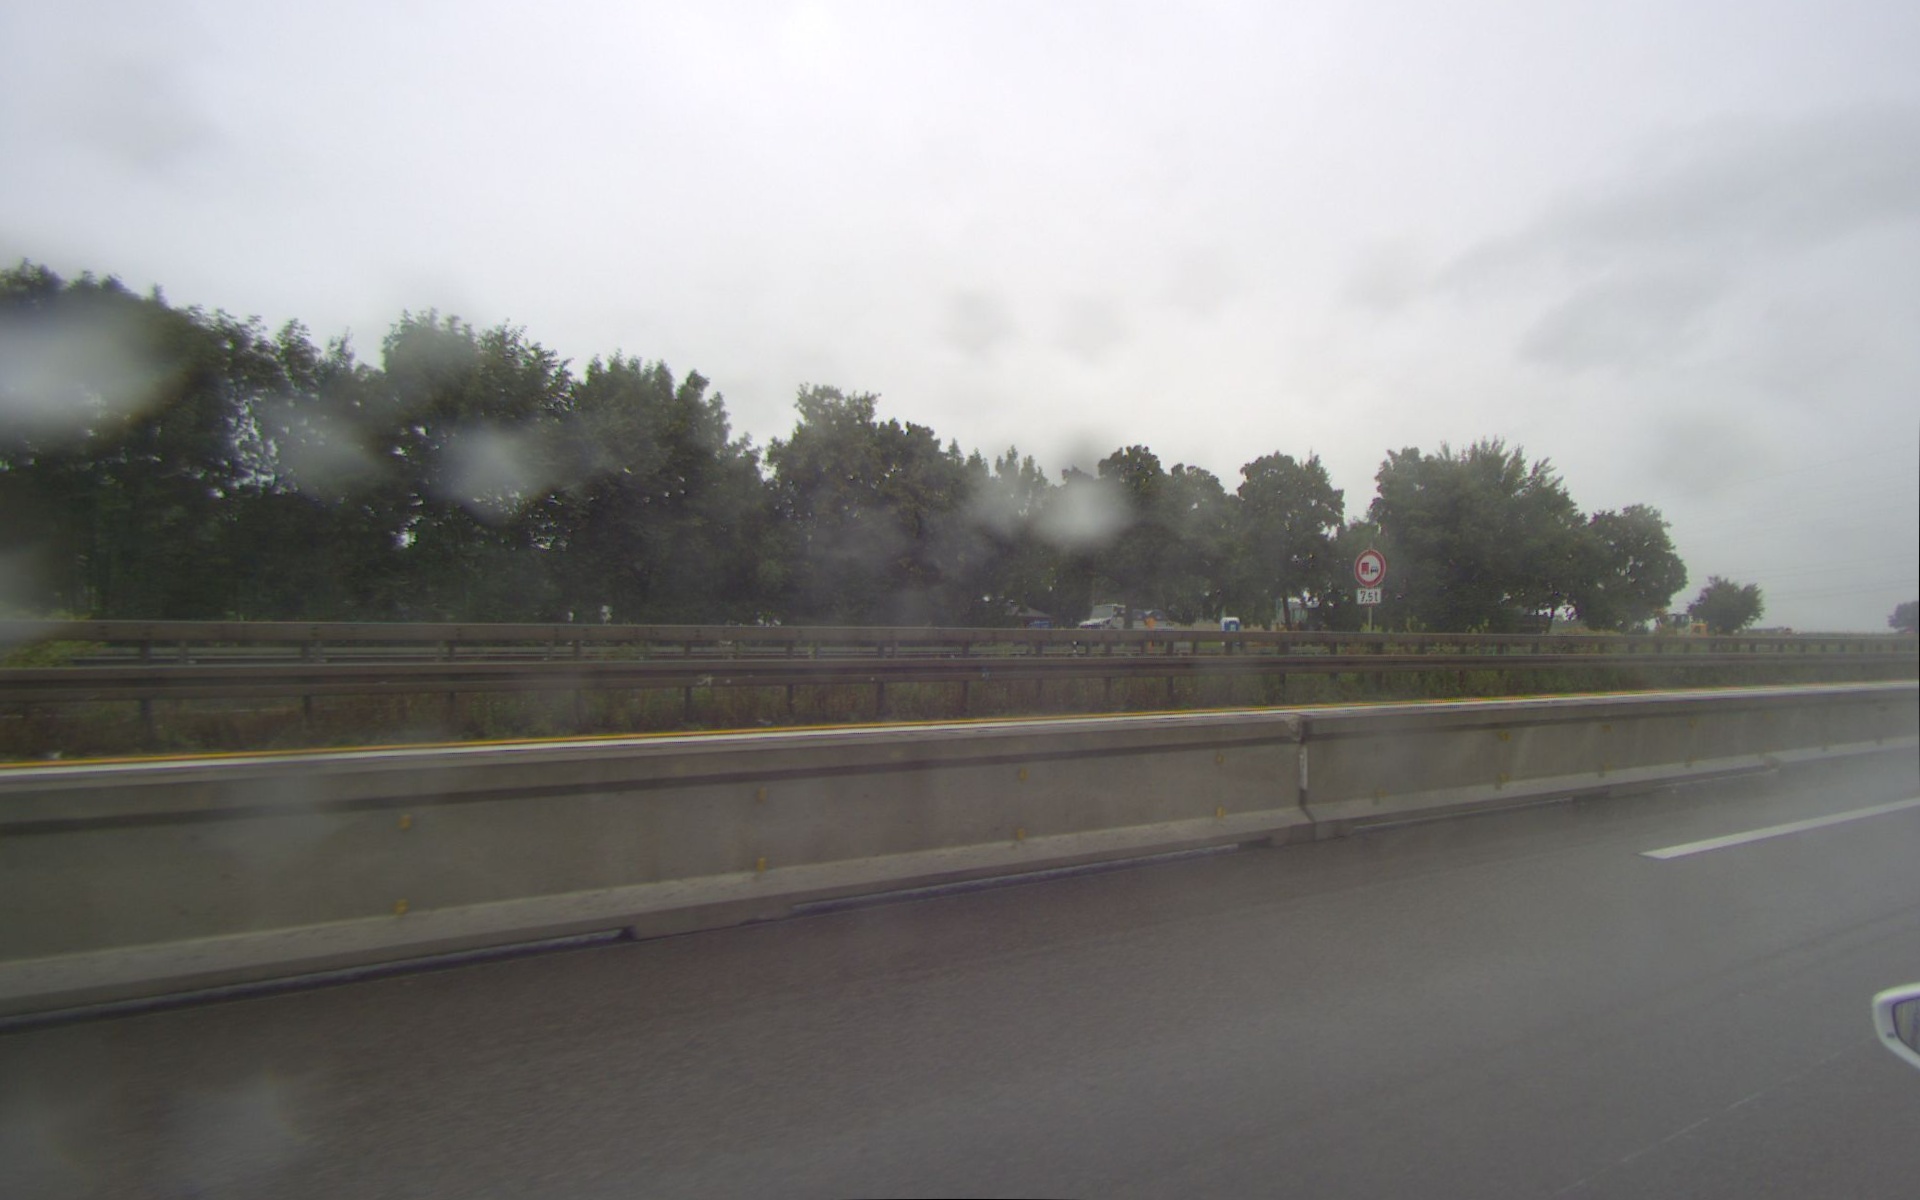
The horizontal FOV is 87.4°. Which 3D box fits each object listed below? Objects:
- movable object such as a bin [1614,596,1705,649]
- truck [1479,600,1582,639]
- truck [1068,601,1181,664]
[{"bbox_3d":[56.582,1.843,81.184,8.365,3.971,2.716,3,-1,-30],"label":"movable object such as a bin"},{"bbox_3d":[42.761,1.484,75.197,8.792,2.740,2.504,2,0,-29],"label":"truck"},{"bbox_3d":[9.279,1.840,56.497,5.793,3.255,2.603,3,-1,-27],"label":"truck"}]
